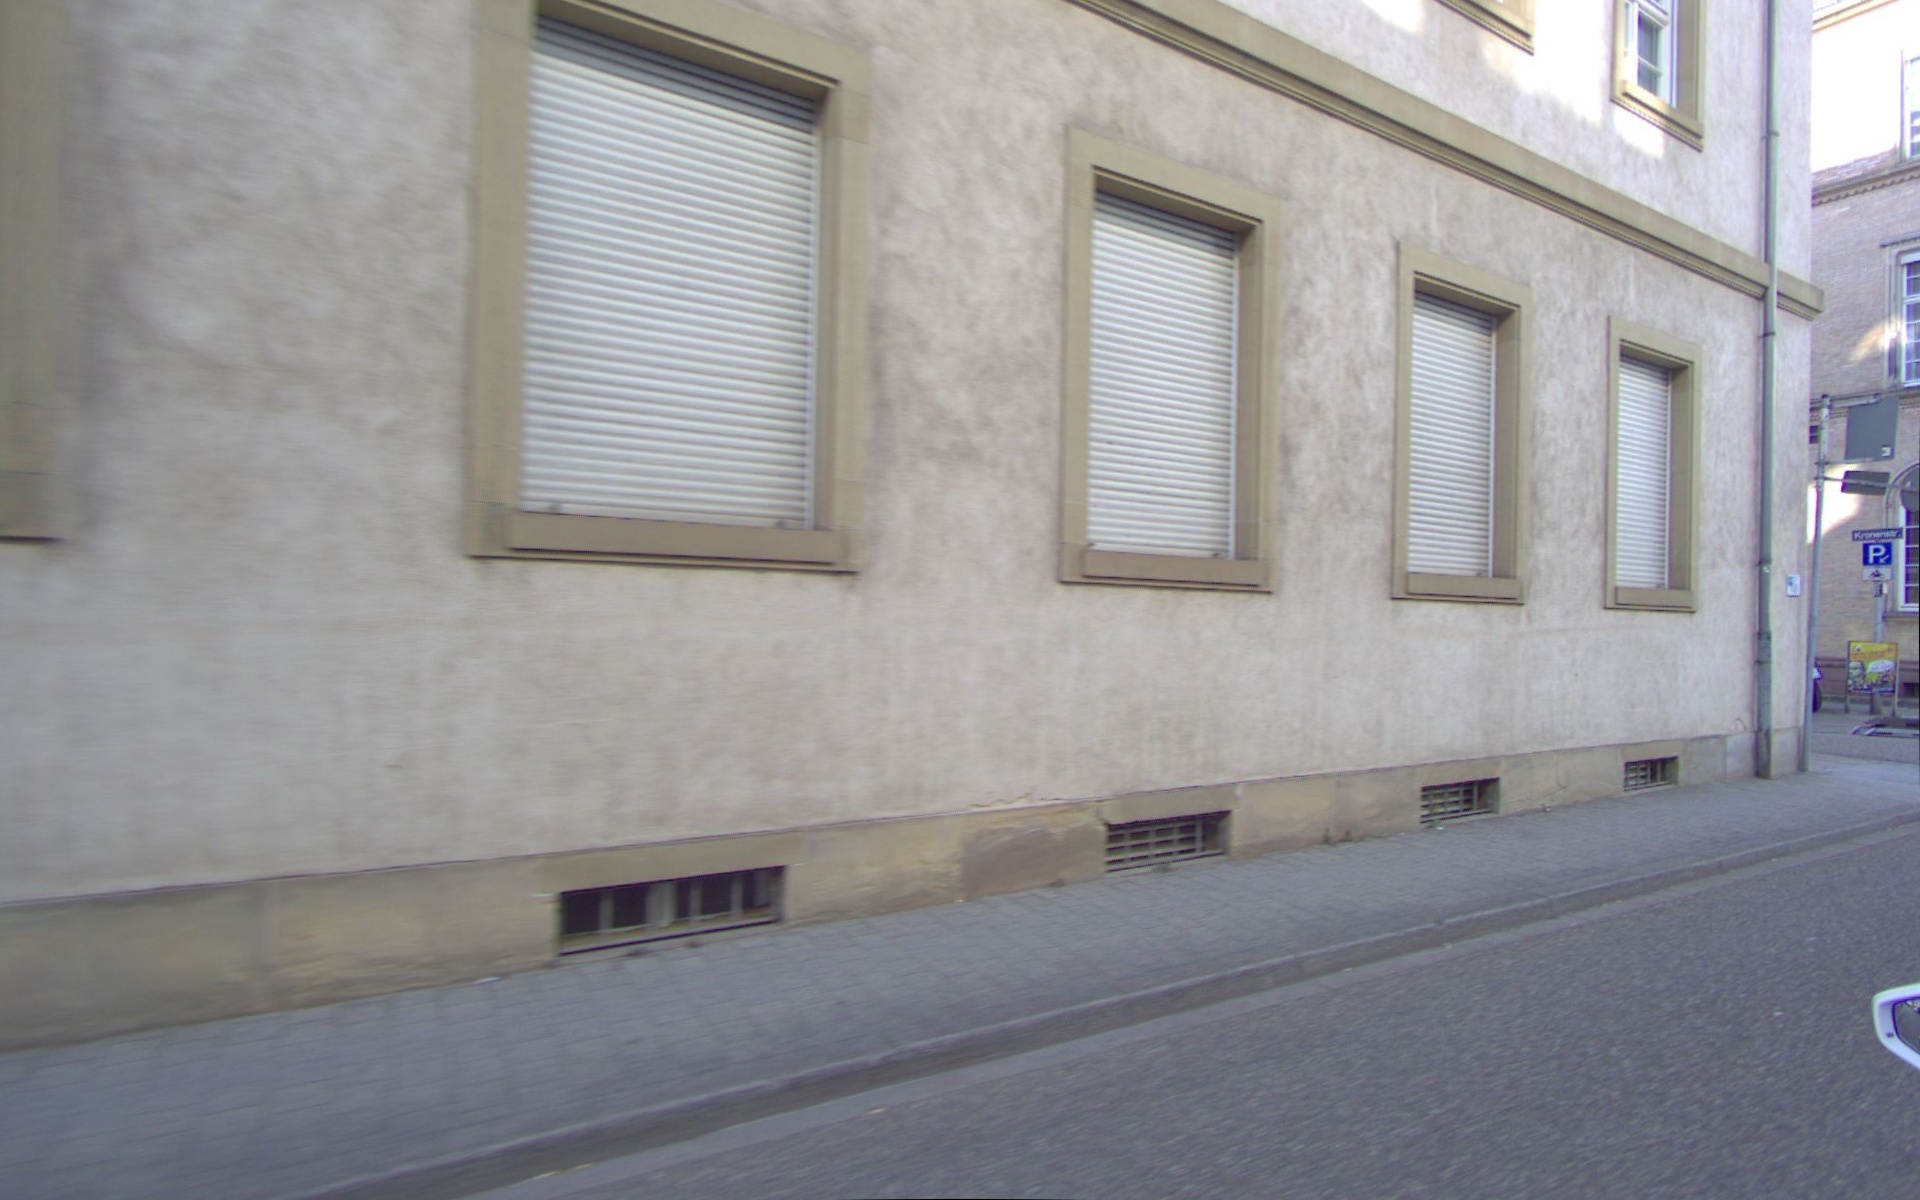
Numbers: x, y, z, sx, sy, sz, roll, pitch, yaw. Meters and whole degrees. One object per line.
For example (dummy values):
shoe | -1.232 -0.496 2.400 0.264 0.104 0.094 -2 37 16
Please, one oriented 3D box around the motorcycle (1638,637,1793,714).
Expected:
motorcycle | 13.588 1.339 18.131 2.156 1.311 0.588 0 -1 16

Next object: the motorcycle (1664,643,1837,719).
motorcycle | 13.266 1.341 16.912 2.237 1.189 0.588 0 2 11

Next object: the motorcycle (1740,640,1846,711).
motorcycle | 15.239 1.344 18.445 0.647 1.189 2.202 0 -1 16
